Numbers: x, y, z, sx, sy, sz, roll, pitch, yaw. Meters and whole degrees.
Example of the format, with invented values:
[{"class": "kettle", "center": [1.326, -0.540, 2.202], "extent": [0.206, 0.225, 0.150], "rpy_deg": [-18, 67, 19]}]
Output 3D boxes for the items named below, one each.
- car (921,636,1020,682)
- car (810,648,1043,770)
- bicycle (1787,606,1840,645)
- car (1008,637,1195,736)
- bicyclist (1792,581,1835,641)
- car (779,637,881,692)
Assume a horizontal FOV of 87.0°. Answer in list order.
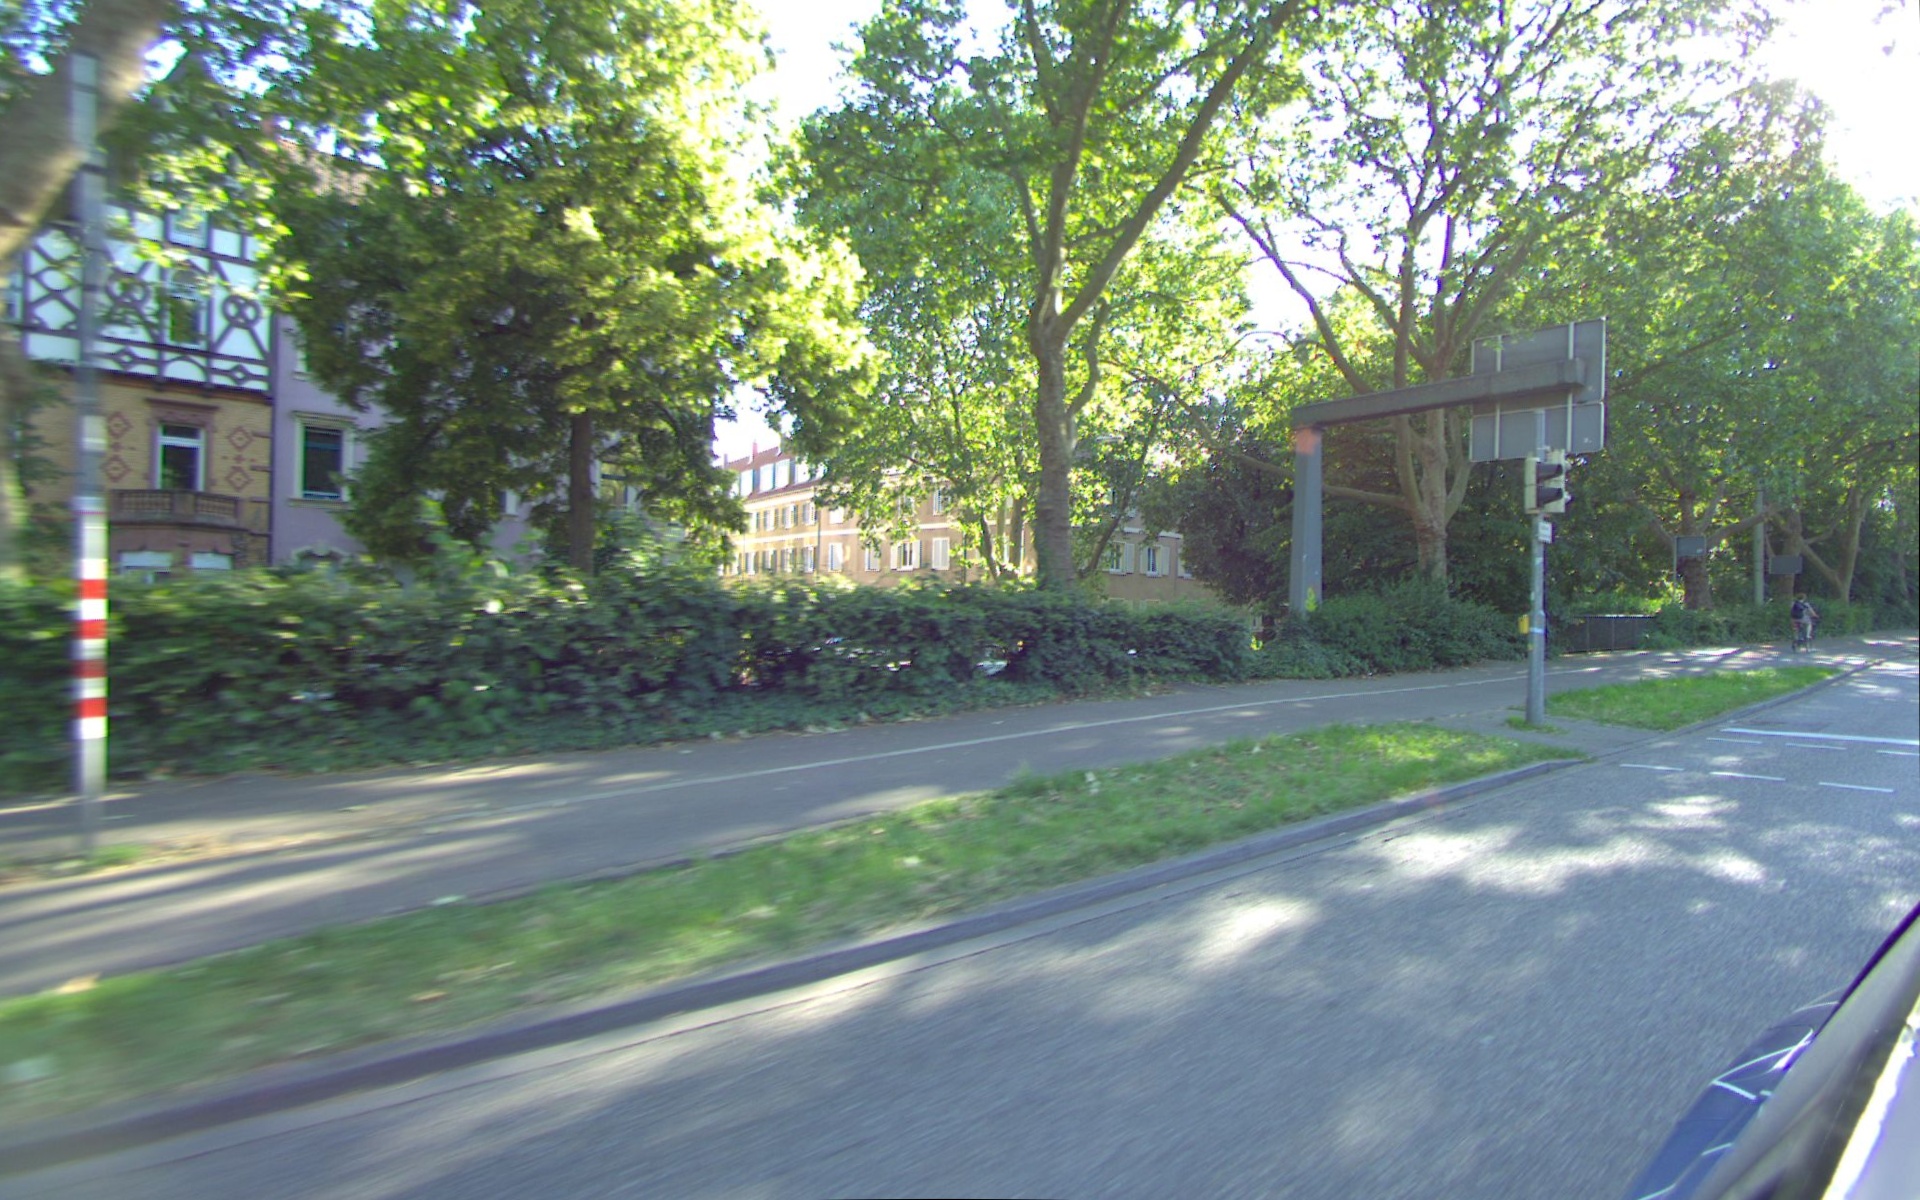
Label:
[{"class": "car", "center": [0.356, 2.298, 39.880], "extent": [1.765, 1.530, 4.152], "rpy_deg": [5, -3, -35]}, {"class": "car", "center": [-0.559, 1.894, 18.759], "extent": [4.027, 1.835, 1.907], "rpy_deg": [0, -1, -41]}, {"class": "bicycle", "center": [25.569, 0.763, 30.300], "extent": [1.892, 1.121, 0.702], "rpy_deg": [1, 0, -33]}, {"class": "car", "center": [3.157, 1.801, 22.220], "extent": [4.027, 1.835, 1.907], "rpy_deg": [0, -1, -41]}, {"class": "bicyclist", "center": [25.550, 0.327, 30.289], "extent": [1.059, 1.750, 0.702], "rpy_deg": [1, 0, -33]}, {"class": "car", "center": [-4.683, 2.249, 35.959], "extent": [1.765, 1.529, 4.154], "rpy_deg": [5, -1, -35]}]
